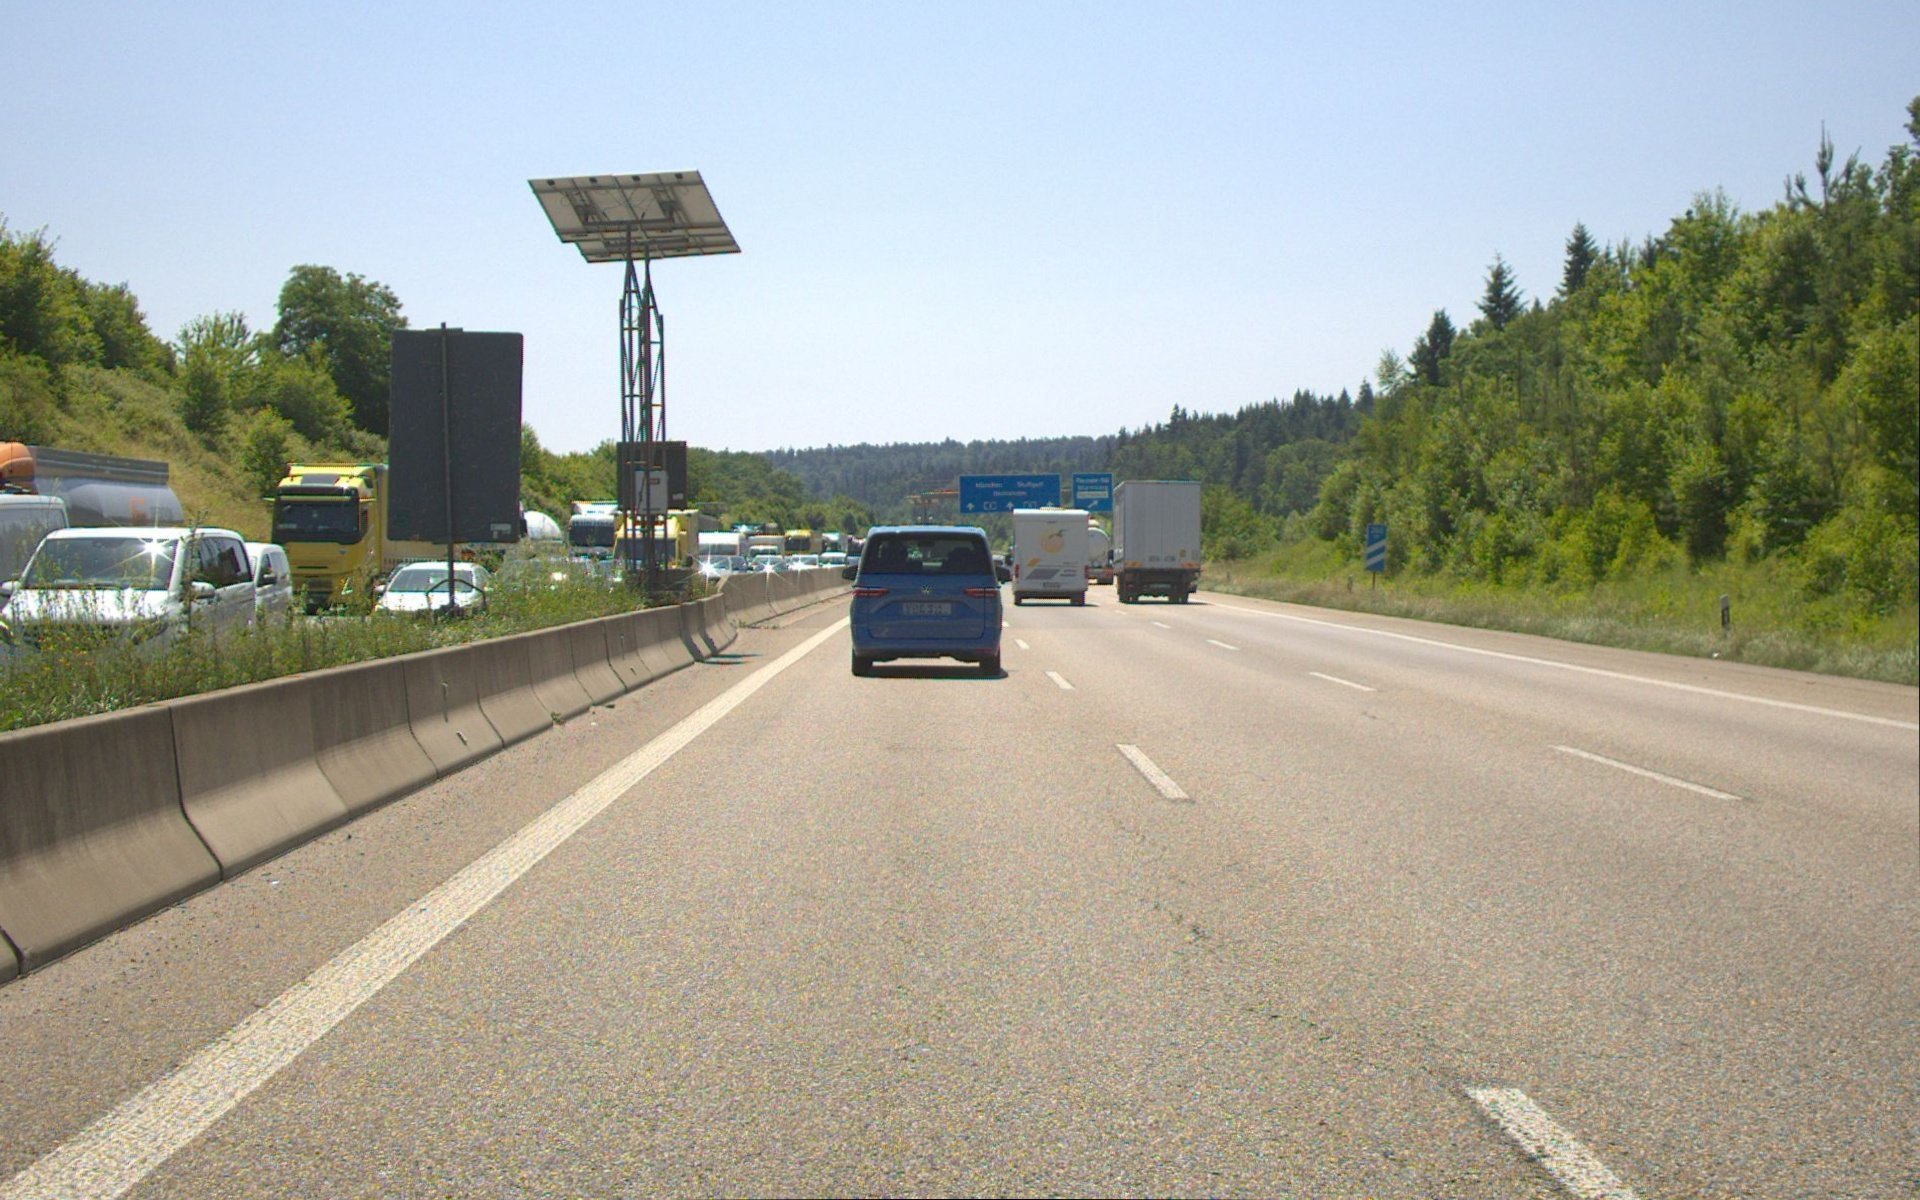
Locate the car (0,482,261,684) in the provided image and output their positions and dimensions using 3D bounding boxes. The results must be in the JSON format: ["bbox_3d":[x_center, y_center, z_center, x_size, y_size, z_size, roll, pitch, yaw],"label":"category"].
[{"bbox_3d":[-8.880,-0.190,36.745,1.826,1.970,5.666,1,0,-2],"label":"car"}]

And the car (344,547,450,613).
[{"bbox_3d":[-13.159,-0.472,80.522,1.827,1.492,4.760,1,0,-2],"label":"car"}]

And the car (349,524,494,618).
[{"bbox_3d":[-9.034,-0.489,57.964,1.827,1.492,4.760,1,0,-2],"label":"car"}]

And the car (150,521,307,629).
[{"bbox_3d":[-12.559,-0.433,59.279,1.827,1.757,4.760,1,0,-2],"label":"car"}]

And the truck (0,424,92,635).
[{"bbox_3d":[-16.309,-1.168,57.276,2.493,3.354,5.187,1,1,-2],"label":"truck"}]

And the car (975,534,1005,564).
[{"bbox_3d":[1.804,-3.120,210.101,1.776,1.766,4.000,0,1,0],"label":"car"}]

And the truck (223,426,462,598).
[{"bbox_3d":[-17.377,-2.372,98.354,3.696,4.441,17.382,1,0,0],"label":"truck"}]

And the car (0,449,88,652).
[{"bbox_3d":[-12.337,-0.596,41.257,2.184,2.376,6.542,1,0,-1],"label":"car"}]

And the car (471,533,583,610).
[{"bbox_3d":[-8.820,-0.583,70.373,1.827,1.492,4.760,1,0,-2],"label":"car"}]

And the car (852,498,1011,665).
[{"bbox_3d":[-0.373,-0.263,44.227,1.909,2.007,4.000,1,1,-1],"label":"car"}]

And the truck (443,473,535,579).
[{"bbox_3d":[-17.032,-2.647,124.569,2.678,3.730,5.873,1,0,-2],"label":"truck"}]

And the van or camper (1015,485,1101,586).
[{"bbox_3d":[3.093,-2.113,109.704,2.603,3.068,7.182,1,2,1],"label":"van or camper"}]

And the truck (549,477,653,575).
[{"bbox_3d":[-17.066,-3.439,164.702,3.696,4.441,16.677,1,0,-2],"label":"truck"}]

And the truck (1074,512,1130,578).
[{"bbox_3d":[7.949,-3.121,193.112,2.928,3.563,8.526,-1,2,2],"label":"truck"}]

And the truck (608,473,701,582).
[{"bbox_3d":[-8.764,-2.057,99.187,2.268,3.006,6.777,1,0,-2],"label":"truck"}]

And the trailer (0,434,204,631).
[{"bbox_3d":[-16.445,-1.181,63.495,2.577,3.283,11.697,1,0,-1],"label":"trailer"}]

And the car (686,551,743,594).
[{"bbox_3d":[-8.697,-0.982,122.086,1.827,1.492,4.760,1,0,-2],"label":"car"}]

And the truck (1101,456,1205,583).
[{"bbox_3d":[6.502,-2.668,117.181,2.783,4.114,9.740,1,0,-1],"label":"truck"}]
